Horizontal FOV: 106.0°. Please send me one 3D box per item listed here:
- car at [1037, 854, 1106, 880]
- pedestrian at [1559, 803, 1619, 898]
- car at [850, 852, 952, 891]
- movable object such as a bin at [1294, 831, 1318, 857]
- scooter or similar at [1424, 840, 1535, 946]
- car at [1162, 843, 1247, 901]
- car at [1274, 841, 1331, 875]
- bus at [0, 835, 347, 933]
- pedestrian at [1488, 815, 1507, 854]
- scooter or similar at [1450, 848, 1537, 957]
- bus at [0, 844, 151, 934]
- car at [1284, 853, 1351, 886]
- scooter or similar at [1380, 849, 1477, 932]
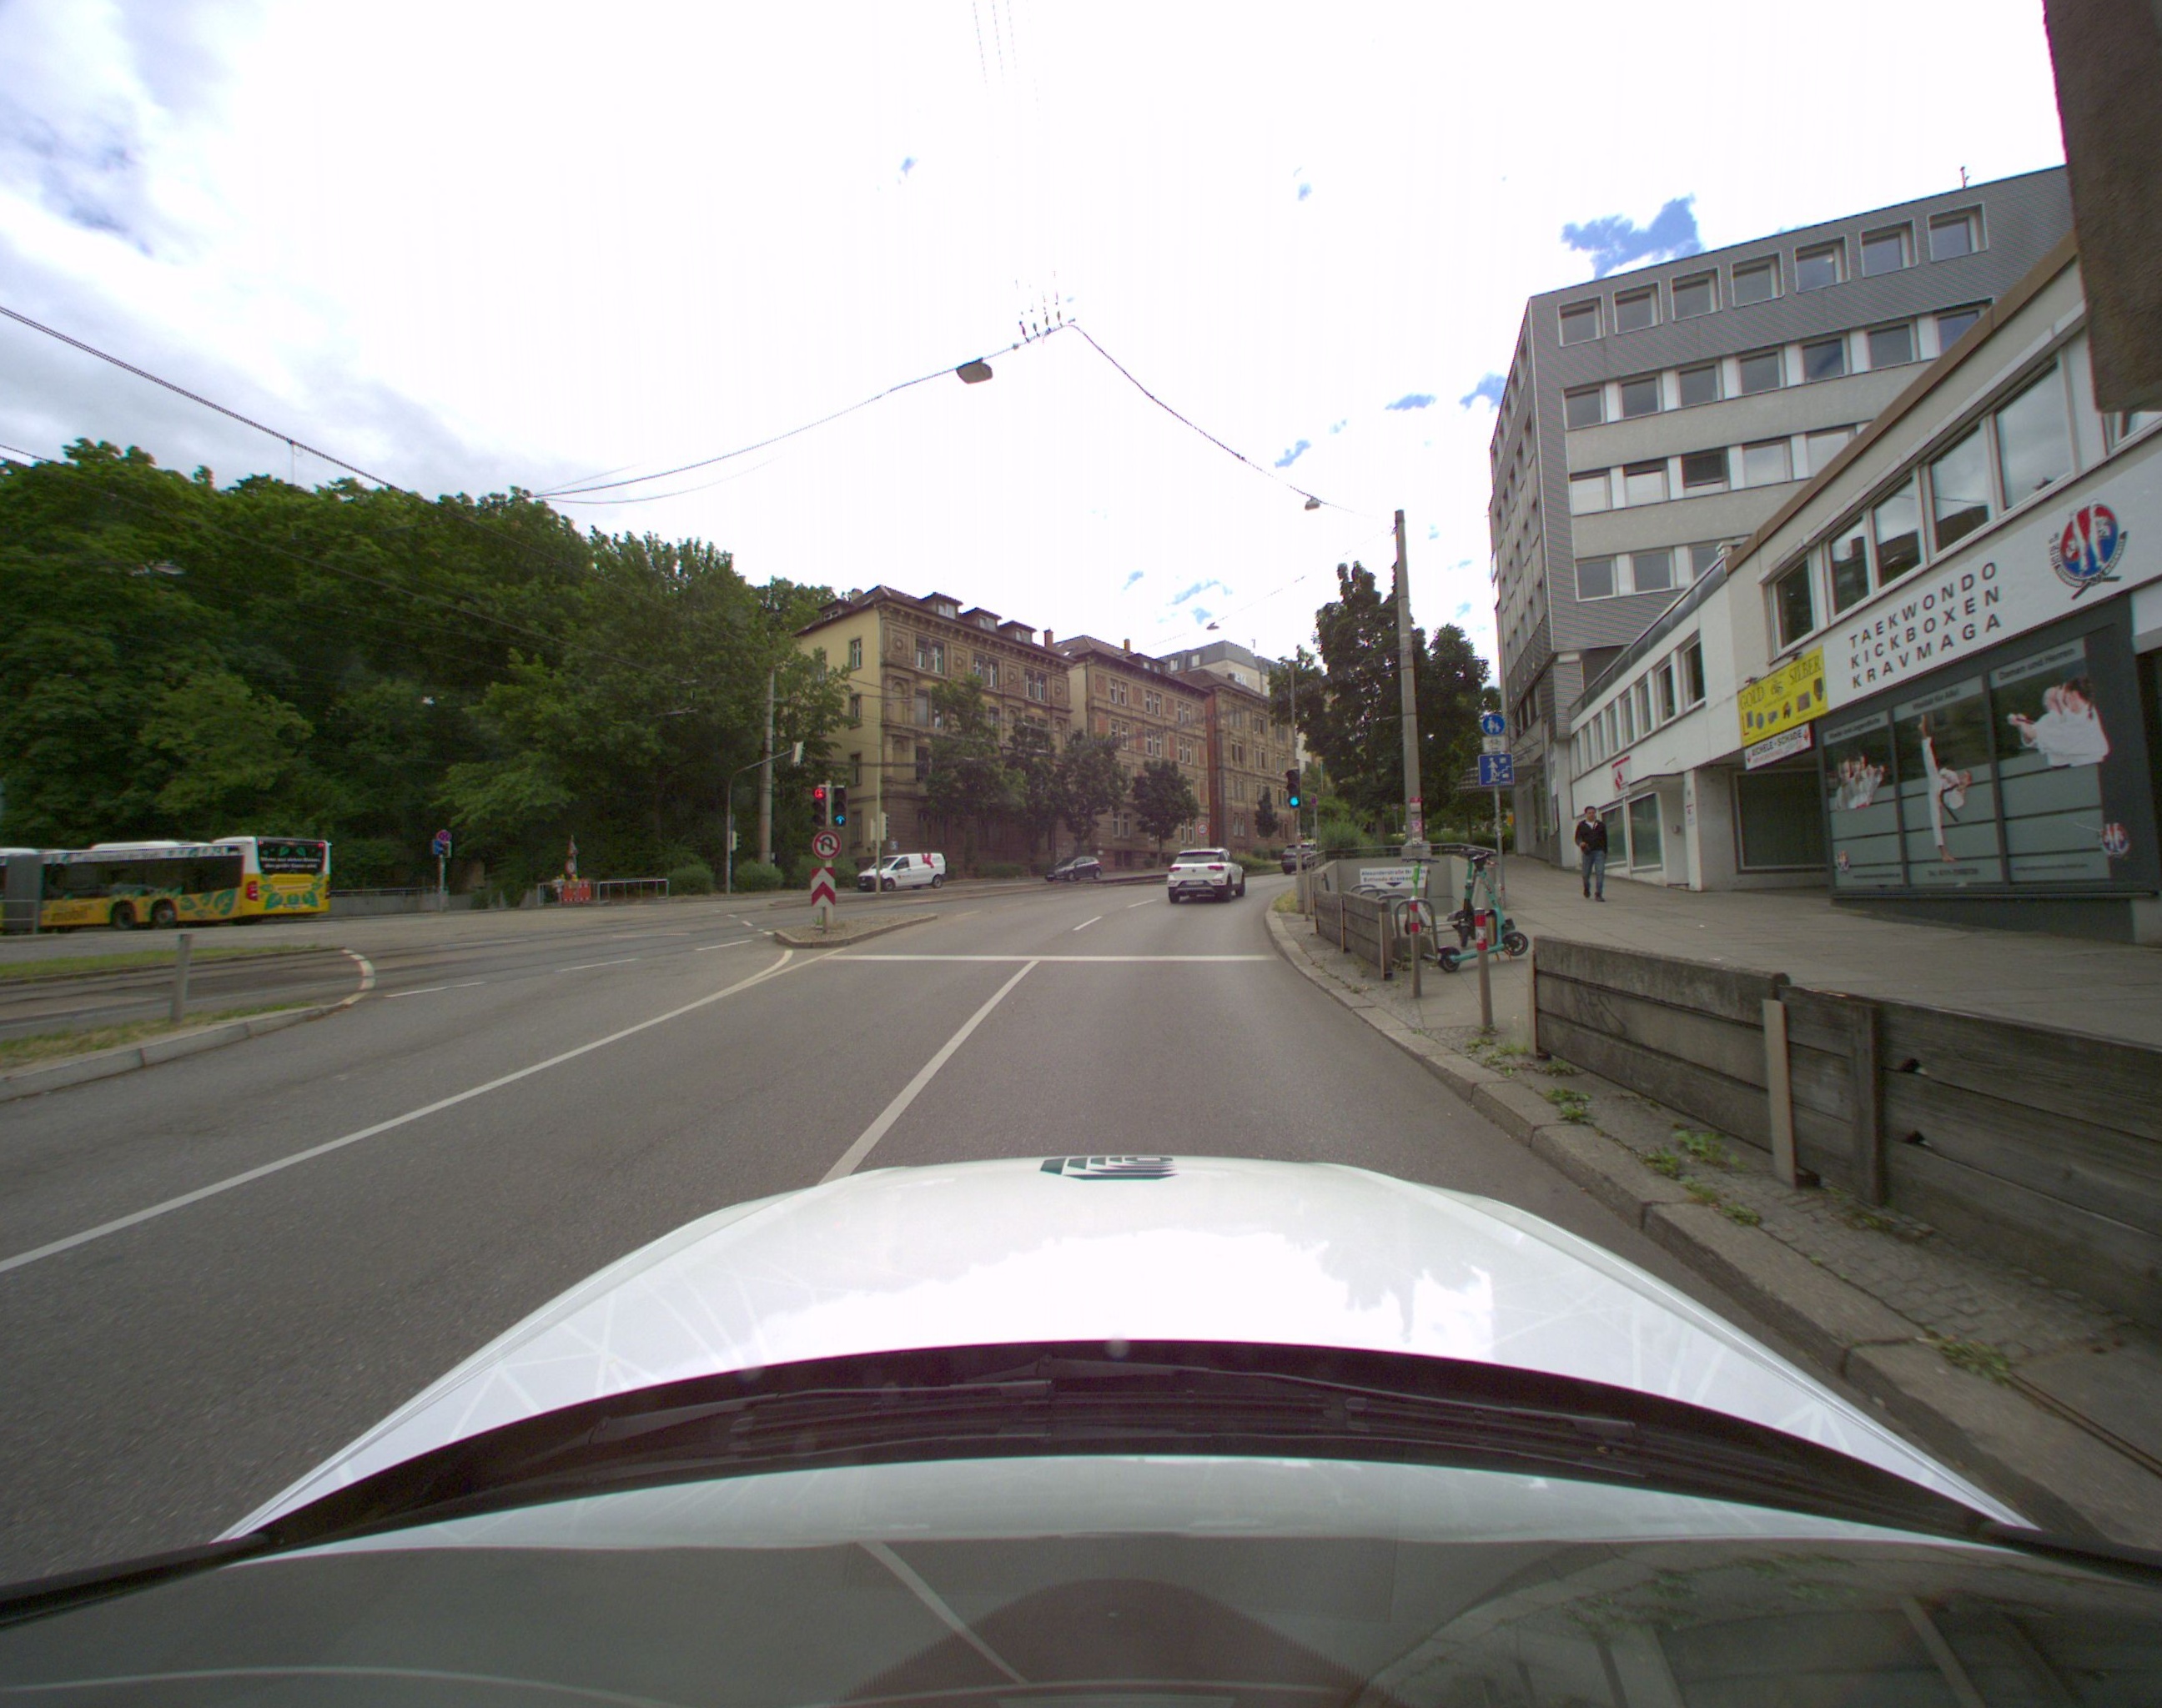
[{"bbox_3d":[-0.525,0.778,49.470,1.725,1.427,4.434,-2,-1,39],"label":"car"},{"bbox_3d":[10.092,-0.070,16.227,0.826,1.810,1.157,-1,0,24],"label":"pedestrian"},{"bbox_3d":[-9.326,0.869,42.489,1.974,1.849,5.024,-1,0,40],"label":"car"},{"bbox_3d":[26.459,-1.180,95.675,1.974,2.838,2.043,-4,-1,33],"label":"movable object such as a bin"},{"bbox_3d":[5.265,0.485,10.742,1.450,1.254,0.552,-3,0,-30],"label":"scooter or similar"},{"bbox_3d":[3.842,0.528,24.760,1.923,1.566,4.064,-2,-1,17],"label":"car"},{"bbox_3d":[12.021,0.215,44.108,1.821,1.740,4.025,-1,0,32],"label":"car"},{"bbox_3d":[-33.267,1.067,29.225,11.451,3.029,3.396,-2,0,6],"label":"bus"},{"bbox_3d":[19.496,-0.922,38.125,0.667,1.794,0.612,-2,0,19],"label":"pedestrian"},{"bbox_3d":[4.753,0.532,9.372,1.014,1.182,0.373,-1,0,-30],"label":"scooter or similar"},{"bbox_3d":[-41.382,1.344,29.970,11.269,3.043,3.329,-2,0,5],"label":"bus"},{"bbox_3d":[11.689,0.745,40.125,1.884,1.574,3.858,0,-1,38],"label":"car"},{"bbox_3d":[5.335,0.541,12.484,1.450,1.182,0.577,-1,0,-30],"label":"scooter or similar"}]
